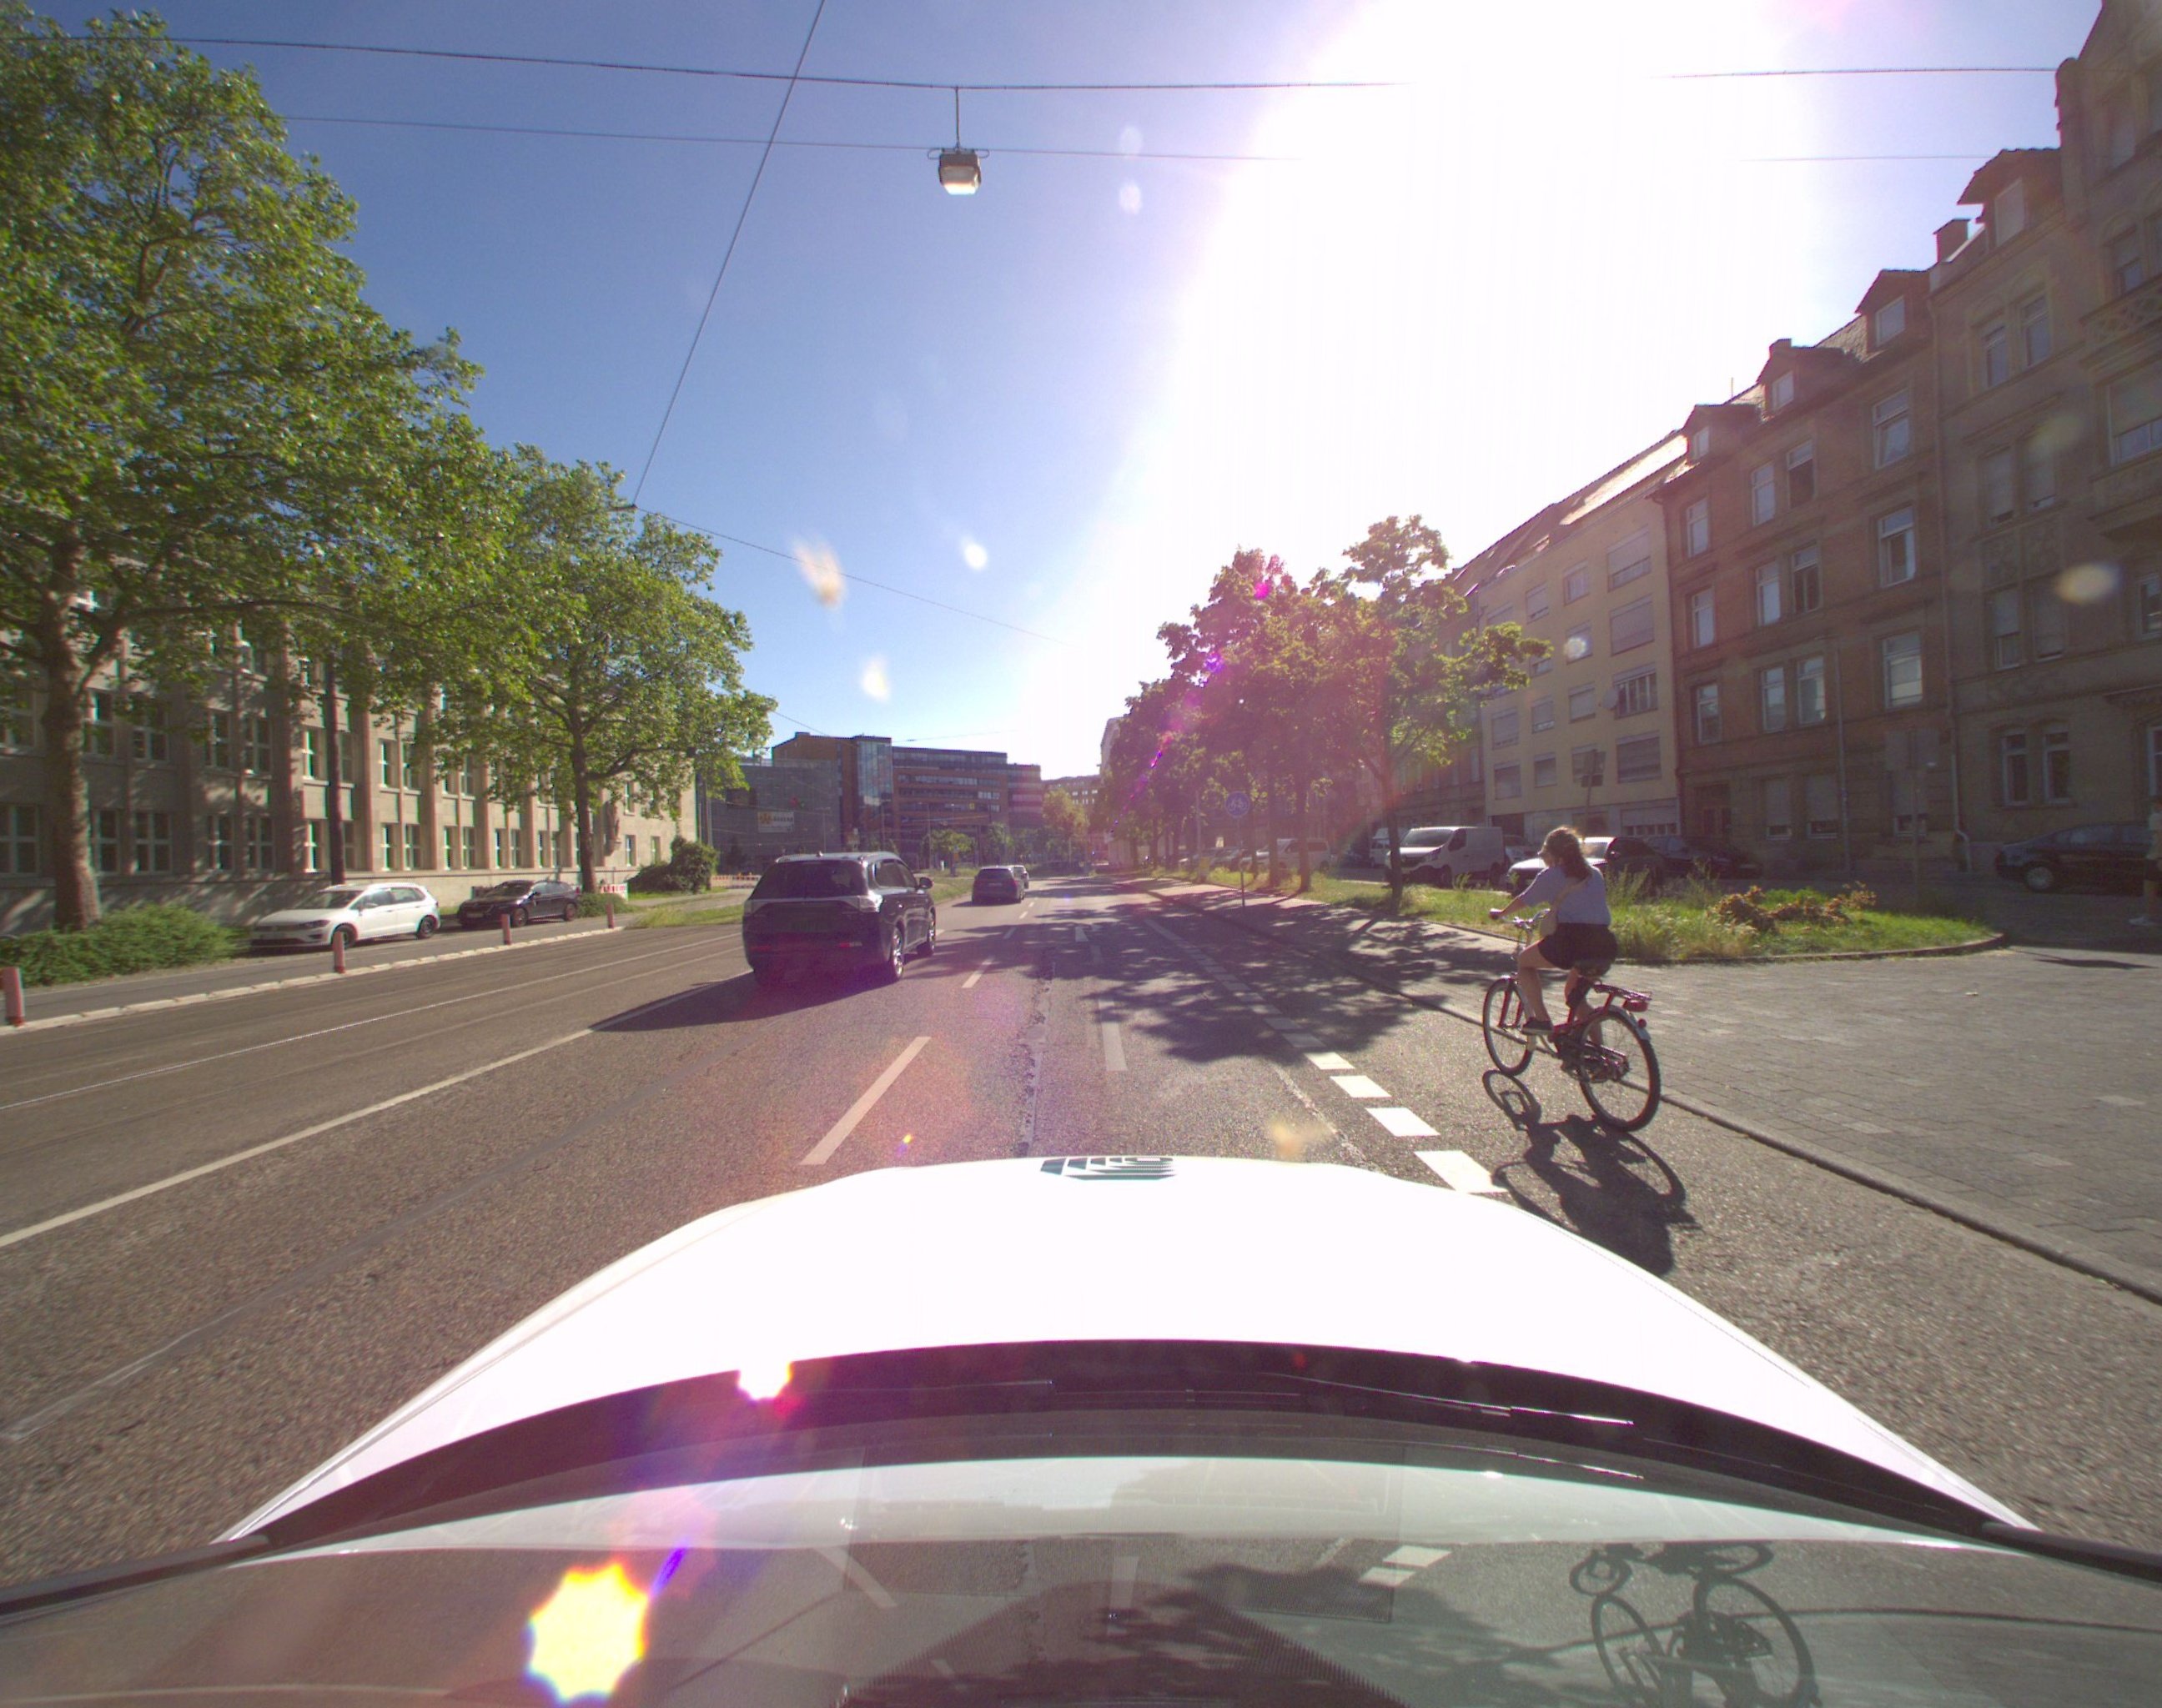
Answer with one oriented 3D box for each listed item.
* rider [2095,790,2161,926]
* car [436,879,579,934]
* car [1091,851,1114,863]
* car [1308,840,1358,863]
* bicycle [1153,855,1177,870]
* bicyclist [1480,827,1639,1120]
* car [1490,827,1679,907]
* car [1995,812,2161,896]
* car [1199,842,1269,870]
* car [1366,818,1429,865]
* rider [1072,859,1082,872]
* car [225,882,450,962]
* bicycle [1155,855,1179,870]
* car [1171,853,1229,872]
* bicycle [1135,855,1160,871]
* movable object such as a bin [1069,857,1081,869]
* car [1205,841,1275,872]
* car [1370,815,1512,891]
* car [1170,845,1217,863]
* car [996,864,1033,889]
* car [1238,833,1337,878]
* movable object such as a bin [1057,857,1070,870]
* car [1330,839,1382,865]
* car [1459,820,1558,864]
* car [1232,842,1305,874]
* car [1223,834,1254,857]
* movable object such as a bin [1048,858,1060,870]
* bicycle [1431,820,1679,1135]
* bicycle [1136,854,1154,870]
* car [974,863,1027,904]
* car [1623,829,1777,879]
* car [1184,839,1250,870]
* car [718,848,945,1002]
[{"bbox_3d":[14.920,0.033,11.156,0.964,1.820,1.033,-3,0,-24],"label":"rider"},{"bbox_3d":[-19.159,1.701,27.459,1.824,1.492,4.180,-3,0,0],"label":"car"},{"bbox_3d":[4.087,0.561,154.226,3.958,2.013,2.008,-3,0,13],"label":"car"},{"bbox_3d":[19.163,-0.178,62.123,1.991,1.528,4.504,-5,1,-5],"label":"car"},{"bbox_3d":[7.520,0.727,72.909,1.952,1.192,0.841,-4,0,-3],"label":"bicycle"},{"bbox_3d":[2.904,0.673,5.010,0.436,1.638,0.779,-3,0,-1],"label":"bicyclist"},{"bbox_3d":[12.070,0.256,19.405,4.902,1.434,1.999,-5,1,-35],"label":"car"},{"bbox_3d":[20.359,-0.040,15.022,1.986,1.474,4.491,-3,0,2],"label":"car"},{"bbox_3d":[11.356,0.136,60.537,4.898,1.647,2.080,-5,0,-31],"label":"car"},{"bbox_3d":[19.379,-0.771,50.072,1.987,2.585,4.512,-4,1,0],"label":"car"},{"bbox_3d":[-0.363,1.109,78.514,0.498,1.176,1.683,-3,1,16],"label":"rider"},{"bbox_3d":[-18.977,1.661,21.132,1.825,1.587,4.391,-4,0,-2],"label":"car"},{"bbox_3d":[7.608,0.709,71.986,1.940,1.180,0.899,-4,0,-3],"label":"bicycle"},{"bbox_3d":[10.088,0.696,68.972,4.773,1.380,2.024,-3,0,-36],"label":"car"},{"bbox_3d":[6.121,0.795,74.600,2.091,1.365,0.785,-3,0,-8],"label":"bicycle"},{"bbox_3d":[-0.749,1.049,97.674,1.020,1.398,1.096,-3,0,18],"label":"movable object such as a bin"},{"bbox_3d":[11.083,0.174,56.784,4.529,1.727,1.980,-5,0,-31],"label":"car"},{"bbox_3d":[11.839,-0.054,26.661,4.903,2.075,1.998,-5,1,-37],"label":"car"},{"bbox_3d":[11.484,-0.032,83.016,4.488,1.565,1.918,-3,0,-33],"label":"car"},{"bbox_3d":[-4.071,1.380,49.428,1.634,1.423,3.763,0,-2,-14],"label":"car"},{"bbox_3d":[11.328,0.075,44.566,5.206,2.012,2.080,-5,0,-31],"label":"car"},{"bbox_3d":[-2.100,1.126,97.788,1.098,1.398,1.327,-3,0,18],"label":"movable object such as a bin"},{"bbox_3d":[19.106,-0.133,56.787,1.988,1.691,4.511,-3,0,-1],"label":"car"},{"bbox_3d":[19.929,-0.565,38.239,1.988,1.799,4.623,-4,1,-2],"label":"car"},{"bbox_3d":[10.906,0.208,47.224,4.048,1.478,1.793,-5,0,-36],"label":"car"},{"bbox_3d":[17.848,-0.944,92.616,2.342,2.357,5.186,-4,1,-1],"label":"car"},{"bbox_3d":[-3.247,1.177,97.821,1.060,1.398,1.310,-3,0,18],"label":"movable object such as a bin"},{"bbox_3d":[2.893,0.638,5.224,0.436,1.639,1.938,0,0,-1],"label":"bicycle"},{"bbox_3d":[5.706,0.723,72.128,0.760,1.290,1.608,-4,0,38],"label":"bicycle"},{"bbox_3d":[-3.040,1.132,31.394,1.730,1.423,4.463,-1,-2,-2],"label":"car"},{"bbox_3d":[20.308,-0.026,26.977,1.723,1.420,4.291,-4,1,-1],"label":"car"},{"bbox_3d":[10.530,0.032,63.016,4.903,2.012,2.077,-5,0,-36],"label":"car"},{"bbox_3d":[-3.217,0.822,11.567,1.831,1.682,4.640,-2,-1,-1],"label":"car"}]
